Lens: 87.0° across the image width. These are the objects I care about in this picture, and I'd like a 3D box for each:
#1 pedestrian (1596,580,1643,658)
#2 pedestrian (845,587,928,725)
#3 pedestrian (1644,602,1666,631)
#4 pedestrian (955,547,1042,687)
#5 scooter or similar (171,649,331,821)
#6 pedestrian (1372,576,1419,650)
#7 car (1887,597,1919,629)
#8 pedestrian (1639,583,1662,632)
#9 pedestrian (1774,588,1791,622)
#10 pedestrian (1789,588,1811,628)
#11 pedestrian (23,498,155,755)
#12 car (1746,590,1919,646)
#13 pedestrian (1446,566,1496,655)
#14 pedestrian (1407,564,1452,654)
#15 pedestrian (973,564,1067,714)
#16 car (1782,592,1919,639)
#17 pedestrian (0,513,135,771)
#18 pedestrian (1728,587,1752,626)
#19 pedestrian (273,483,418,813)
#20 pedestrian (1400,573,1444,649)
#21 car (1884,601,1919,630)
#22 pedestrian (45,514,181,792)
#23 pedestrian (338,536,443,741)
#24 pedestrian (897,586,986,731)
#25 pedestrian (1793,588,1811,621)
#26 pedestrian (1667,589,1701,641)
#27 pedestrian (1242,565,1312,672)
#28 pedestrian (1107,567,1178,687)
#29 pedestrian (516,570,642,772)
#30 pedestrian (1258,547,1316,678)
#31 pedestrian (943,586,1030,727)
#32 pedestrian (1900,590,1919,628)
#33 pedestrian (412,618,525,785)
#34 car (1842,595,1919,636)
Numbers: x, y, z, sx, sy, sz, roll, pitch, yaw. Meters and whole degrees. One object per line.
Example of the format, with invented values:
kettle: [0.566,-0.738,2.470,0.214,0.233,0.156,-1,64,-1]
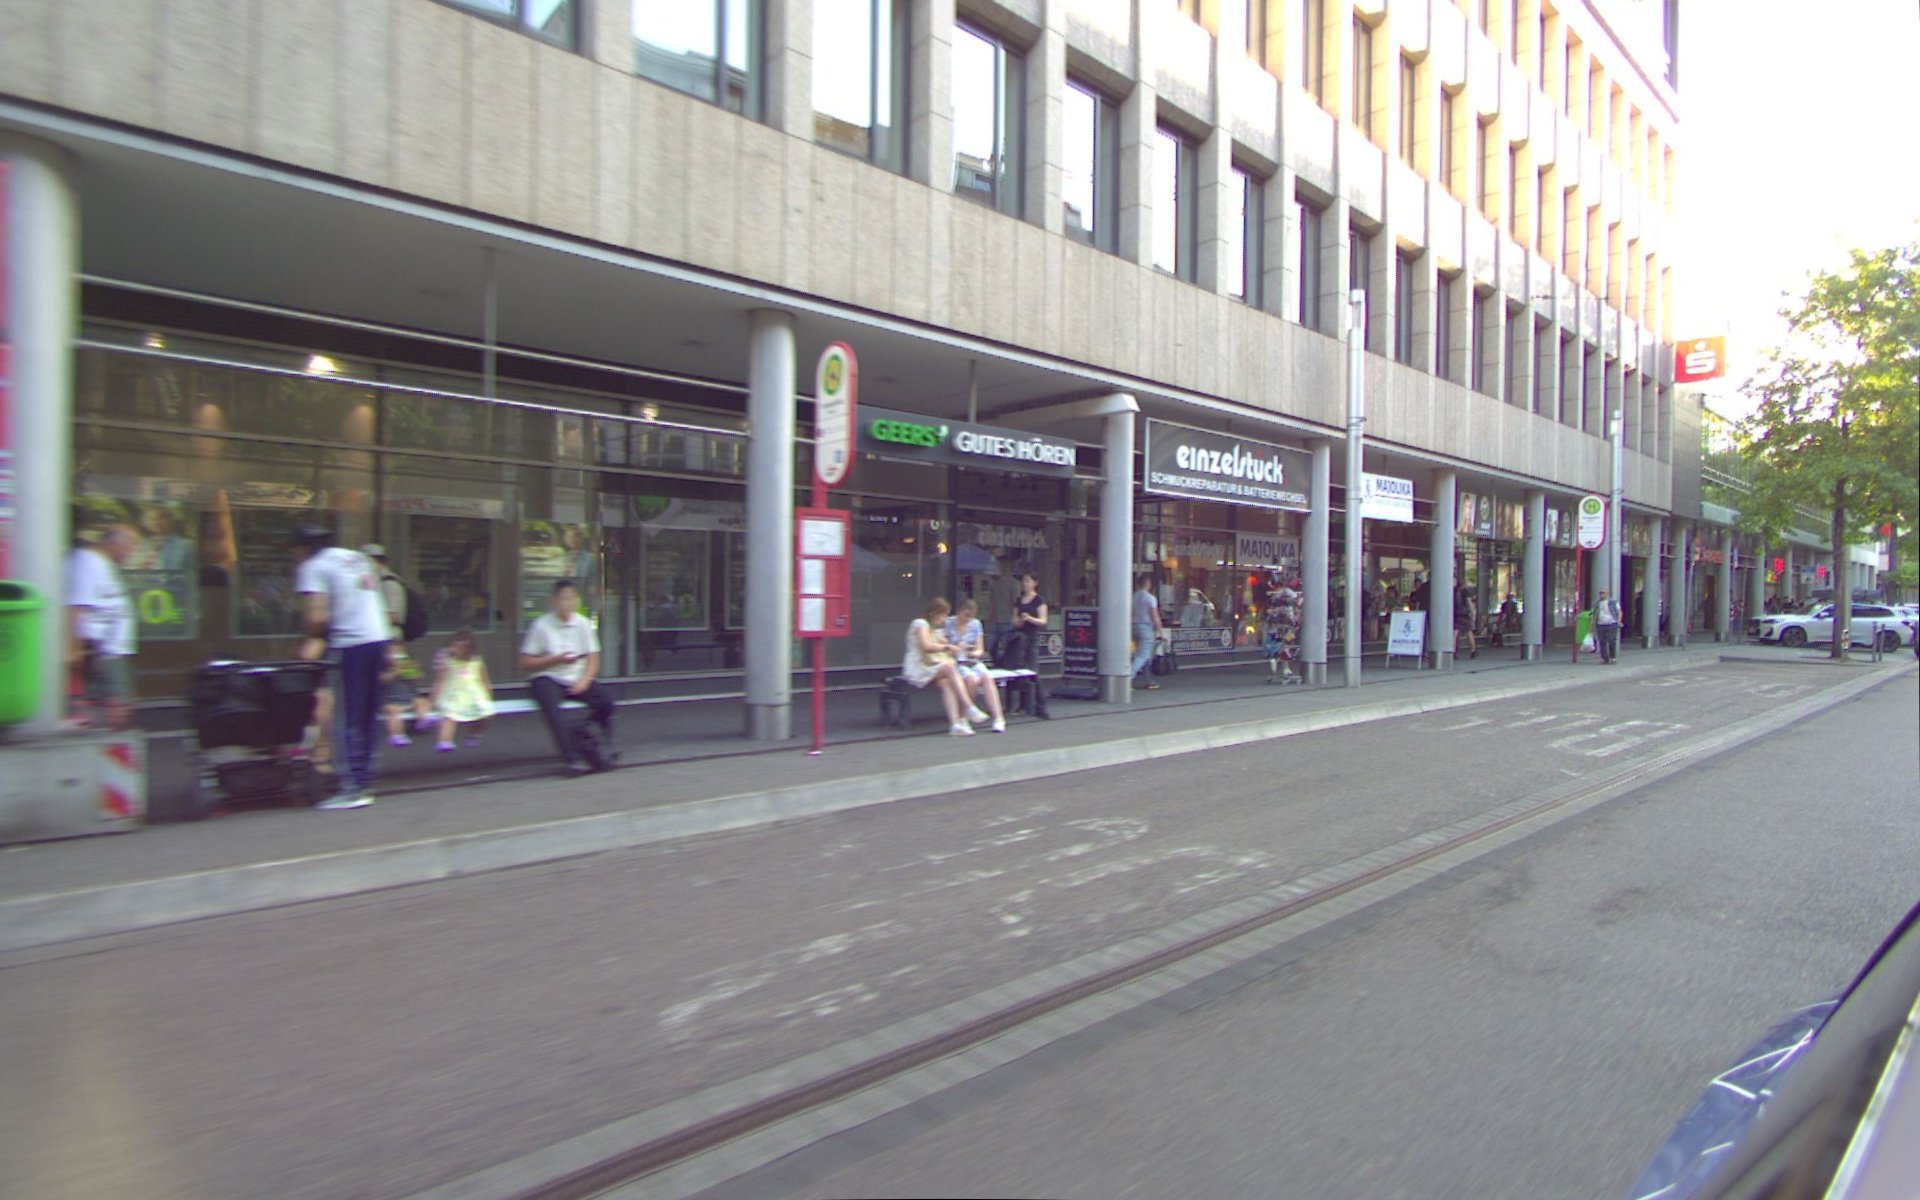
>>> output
pedestrian: [13.861,0.397,21.271,0.627,1.608,0.669,0,-1,-42]
pedestrian: [-0.747,0.536,10.218,0.523,1.331,0.719,0,0,-40]
pedestrian: [26.408,0.621,38.442,0.625,1.048,0.550,2,1,40]
pedestrian: [0.546,0.215,14.448,0.883,1.913,0.846,0,1,-41]
scooter or similar: [-4.216,0.765,6.077,0.673,0.895,0.837,0,-1,-27]
pedestrian: [10.090,0.286,23.450,0.805,1.664,0.711,0,1,-43]
car: [57.140,0.728,59.126,3.957,1.809,1.849,-2,-2,25]
pedestrian: [25.716,0.271,37.678,0.617,1.794,0.557,0,1,-41]
pedestrian: [42.439,0.256,52.214,0.617,1.712,0.557,0,1,-41]
pedestrian: [36.851,0.332,44.380,0.617,1.712,0.617,0,1,-41]
pedestrian: [-6.887,0.184,8.007,0.760,1.906,0.688,0,1,-43]
car: [30.179,0.598,34.752,4.575,1.650,1.908,3,0,17]
pedestrian: [11.269,0.216,22.302,0.782,1.913,0.708,0,1,-41]
pedestrian: [10.090,0.180,21.764,0.671,1.913,0.617,0,1,-40]
pedestrian: [0.660,0.399,11.233,0.723,1.589,0.726,0,1,-40]
car: [35.470,0.595,39.651,4.570,1.607,1.910,3,2,15]
pedestrian: [-6.558,0.279,7.409,0.760,1.774,0.583,0,1,-43]
pedestrian: [35.418,0.292,45.939,0.617,1.712,0.557,1,1,9]
pedestrian: [-3.742,0.260,6.155,0.656,1.862,0.641,0,1,-41]
pedestrian: [11.117,0.250,24.355,0.849,1.794,0.674,0,1,-43]
car: [53.839,0.809,55.691,3.948,1.530,1.853,-2,-2,19]
pedestrian: [-5.499,0.314,6.583,0.639,1.682,0.649,1,1,-41]
pedestrian: [-4.949,0.307,8.788,0.669,1.682,0.649,1,1,-40]
pedestrian: [-0.180,0.537,9.731,0.523,1.331,0.719,0,0,-40]
pedestrian: [44.091,0.246,52.977,0.617,1.712,0.617,0,1,-41]
pedestrian: [23.845,0.471,33.343,0.728,1.664,0.749,0,1,-42]
pedestrian: [5.562,0.297,17.762,0.844,1.819,0.846,0,1,-41]
pedestrian: [2.643,0.373,14.678,0.709,1.682,0.689,0,1,-41]
pedestrian: [-2.838,0.488,7.527,0.650,1.398,0.814,0,0,-40]
pedestrian: [5.061,0.182,15.665,0.644,1.968,0.579,0,1,-42]
pedestrian: [0.259,0.534,10.037,0.515,1.331,0.719,0,0,-40]
pedestrian: [43.502,0.399,46.353,0.616,1.712,0.618,1,0,44]
pedestrian: [-3.430,0.666,7.046,0.534,1.055,0.814,0,0,-40]
car: [46.028,0.738,49.157,4.397,1.904,1.793,-2,-2,12]
